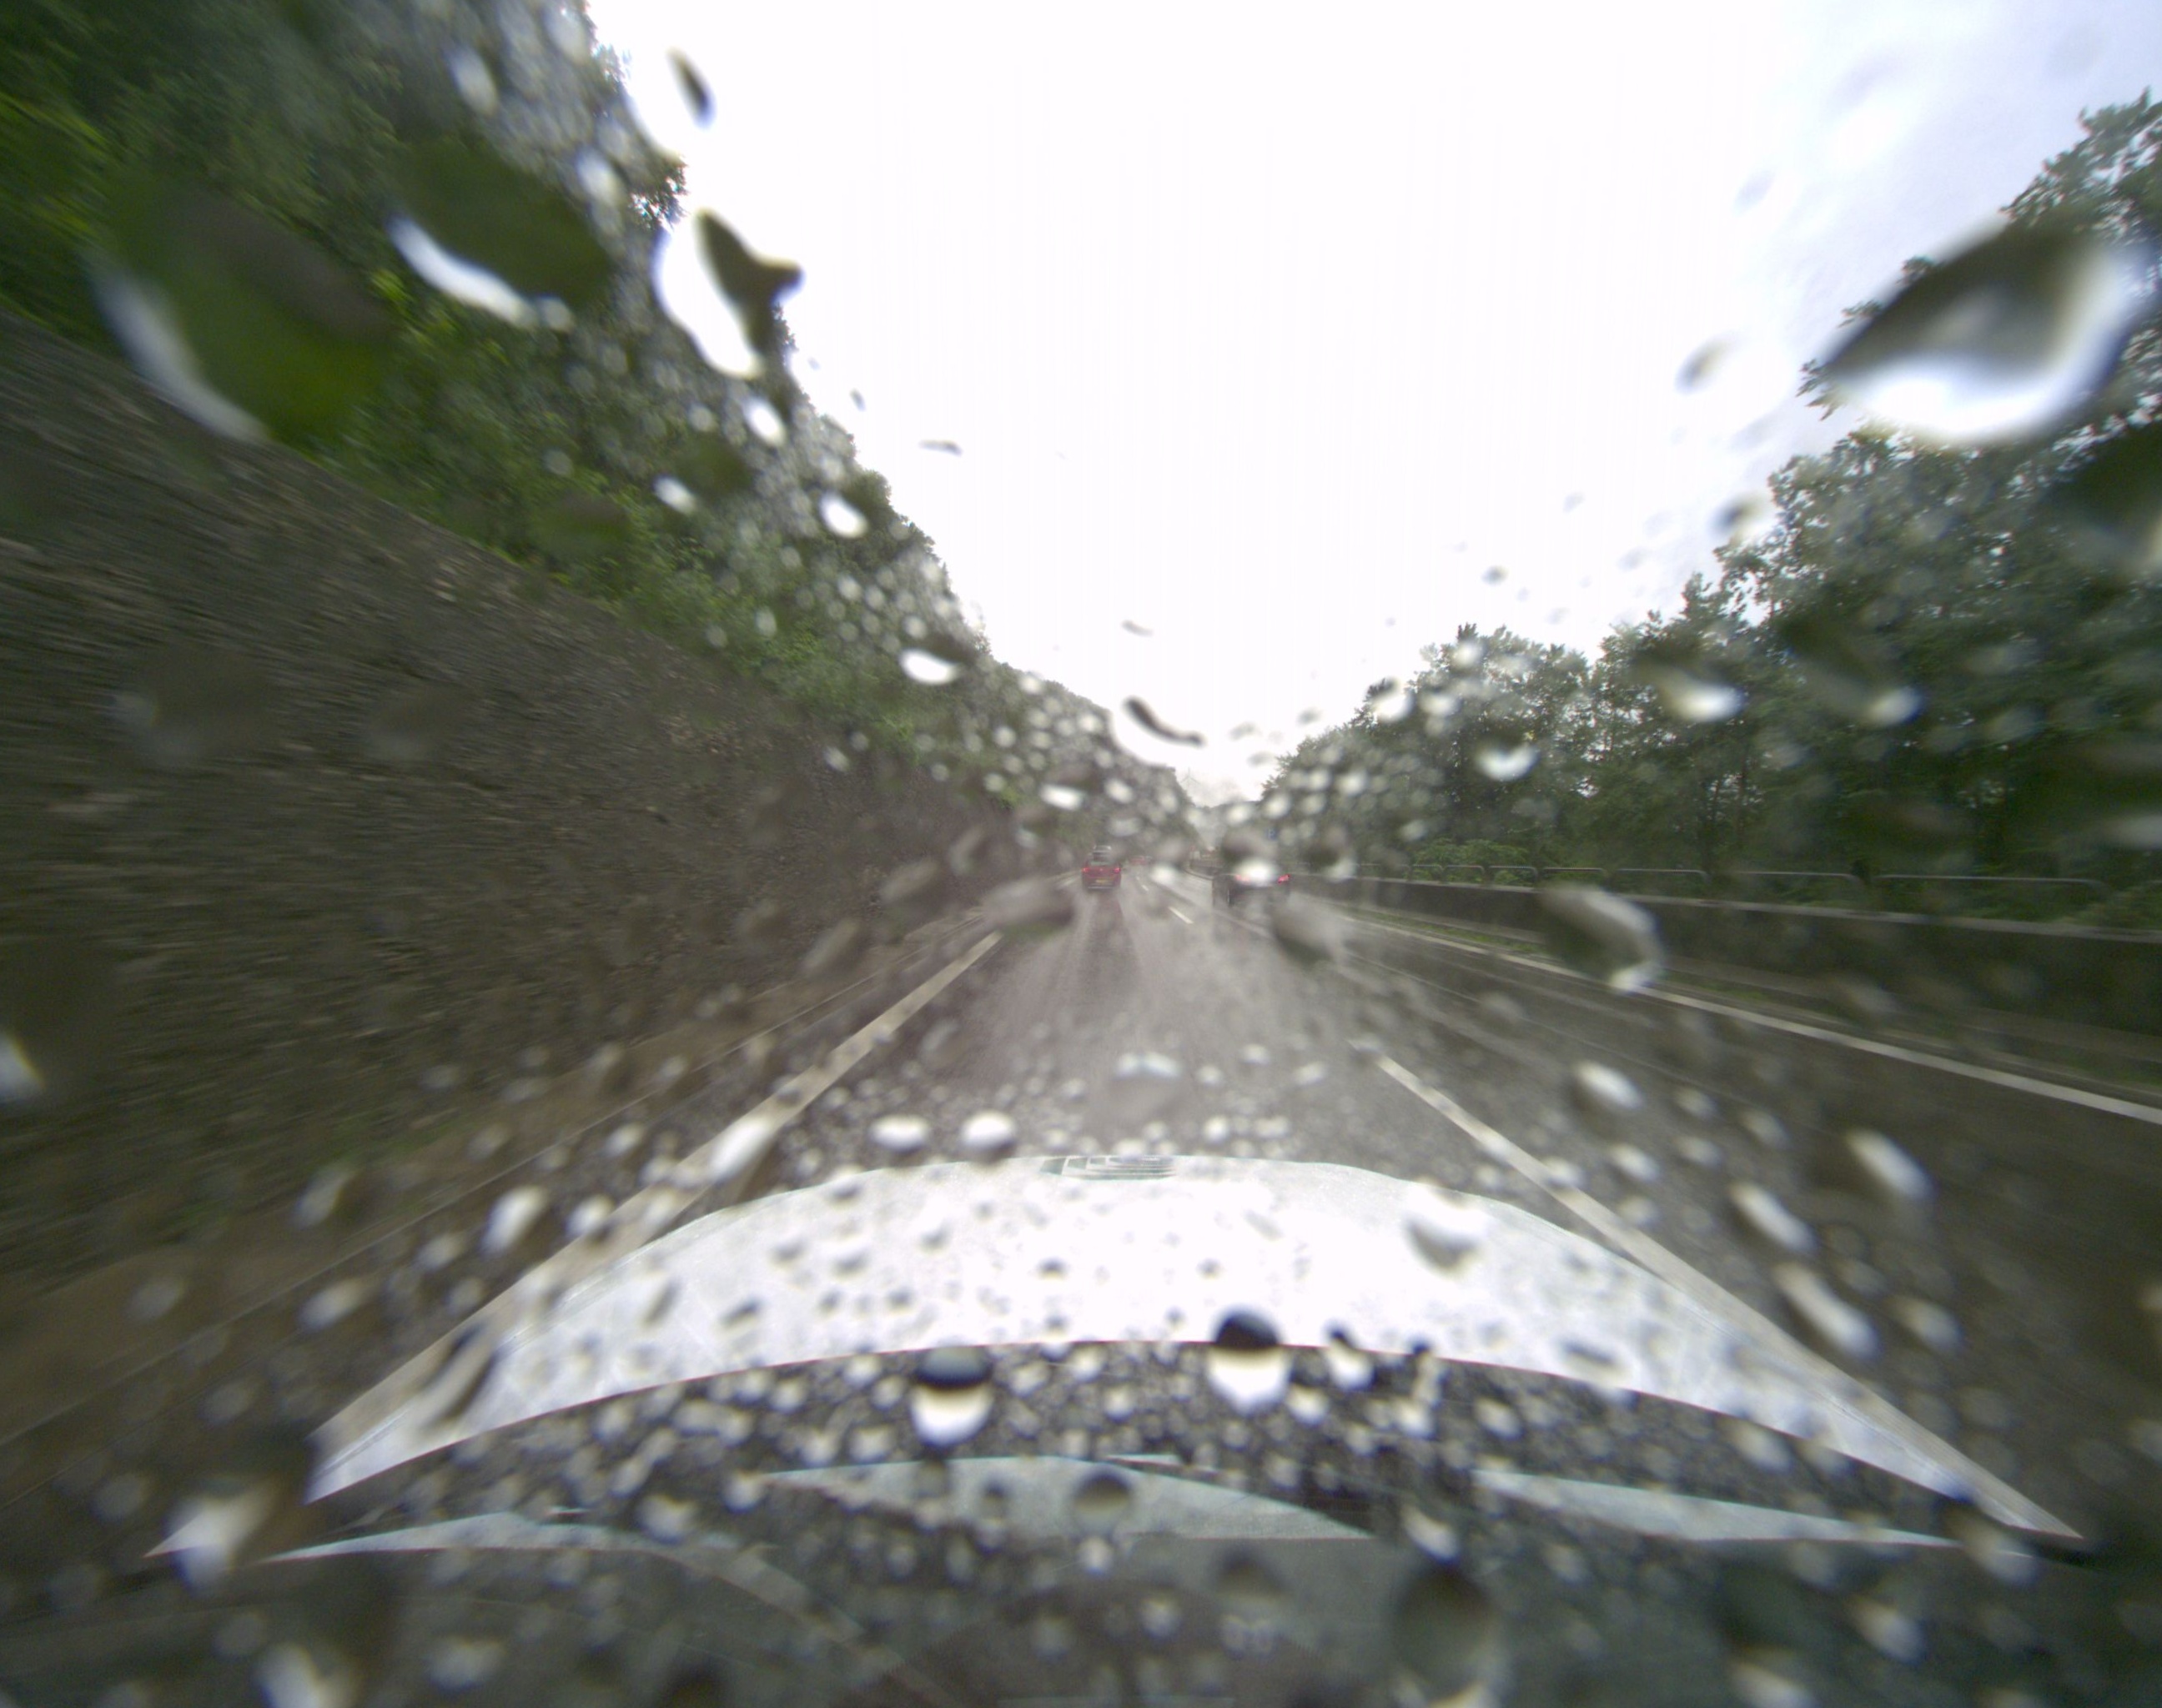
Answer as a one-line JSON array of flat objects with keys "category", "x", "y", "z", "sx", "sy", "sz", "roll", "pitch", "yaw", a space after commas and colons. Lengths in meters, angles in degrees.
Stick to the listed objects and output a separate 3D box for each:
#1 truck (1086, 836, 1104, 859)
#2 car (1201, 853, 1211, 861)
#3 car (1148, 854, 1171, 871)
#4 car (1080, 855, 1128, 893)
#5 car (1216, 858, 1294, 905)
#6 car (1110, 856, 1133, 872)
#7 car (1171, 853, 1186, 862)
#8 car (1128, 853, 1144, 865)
[{"category": "truck", "x": 1.740, "y": -0.755, "z": 98.534, "sx": 1.986, "sy": 2.751, "sz": 5.588, "roll": -1, "pitch": 0, "yaw": 2}, {"category": "car", "x": 30.853, "y": 0.671, "z": 201.153, "sx": 2.435, "sy": 2.013, "sz": 4.746, "roll": -1, "pitch": 0, "yaw": 7}, {"category": "car", "x": 7.330, "y": 0.783, "z": 76.465, "sx": 1.985, "sy": 1.552, "sz": 4.003, "roll": -1, "pitch": 0, "yaw": 3}, {"category": "car", "x": 0.995, "y": 0.867, "z": 36.896, "sx": 1.987, "sy": 1.552, "sz": 3.999, "roll": -1, "pitch": -1, "yaw": 0}, {"category": "car", "x": 5.230, "y": 0.780, "z": 24.915, "sx": 1.792, "sy": 1.307, "sz": 4.005, "roll": -1, "pitch": 0, "yaw": 4}, {"category": "car", "x": 3.616, "y": 0.862, "z": 73.305, "sx": 1.986, "sy": 1.354, "sz": 4.001, "roll": -1, "pitch": 0, "yaw": 2}, {"category": "car", "x": 17.955, "y": 0.657, "z": 149.893, "sx": 1.810, "sy": 1.719, "sz": 4.019, "roll": -1, "pitch": 0, "yaw": 18}, {"category": "car", "x": 8.019, "y": 0.730, "z": 118.321, "sx": 1.856, "sy": 1.684, "sz": 4.011, "roll": -1, "pitch": 0, "yaw": 10}]
